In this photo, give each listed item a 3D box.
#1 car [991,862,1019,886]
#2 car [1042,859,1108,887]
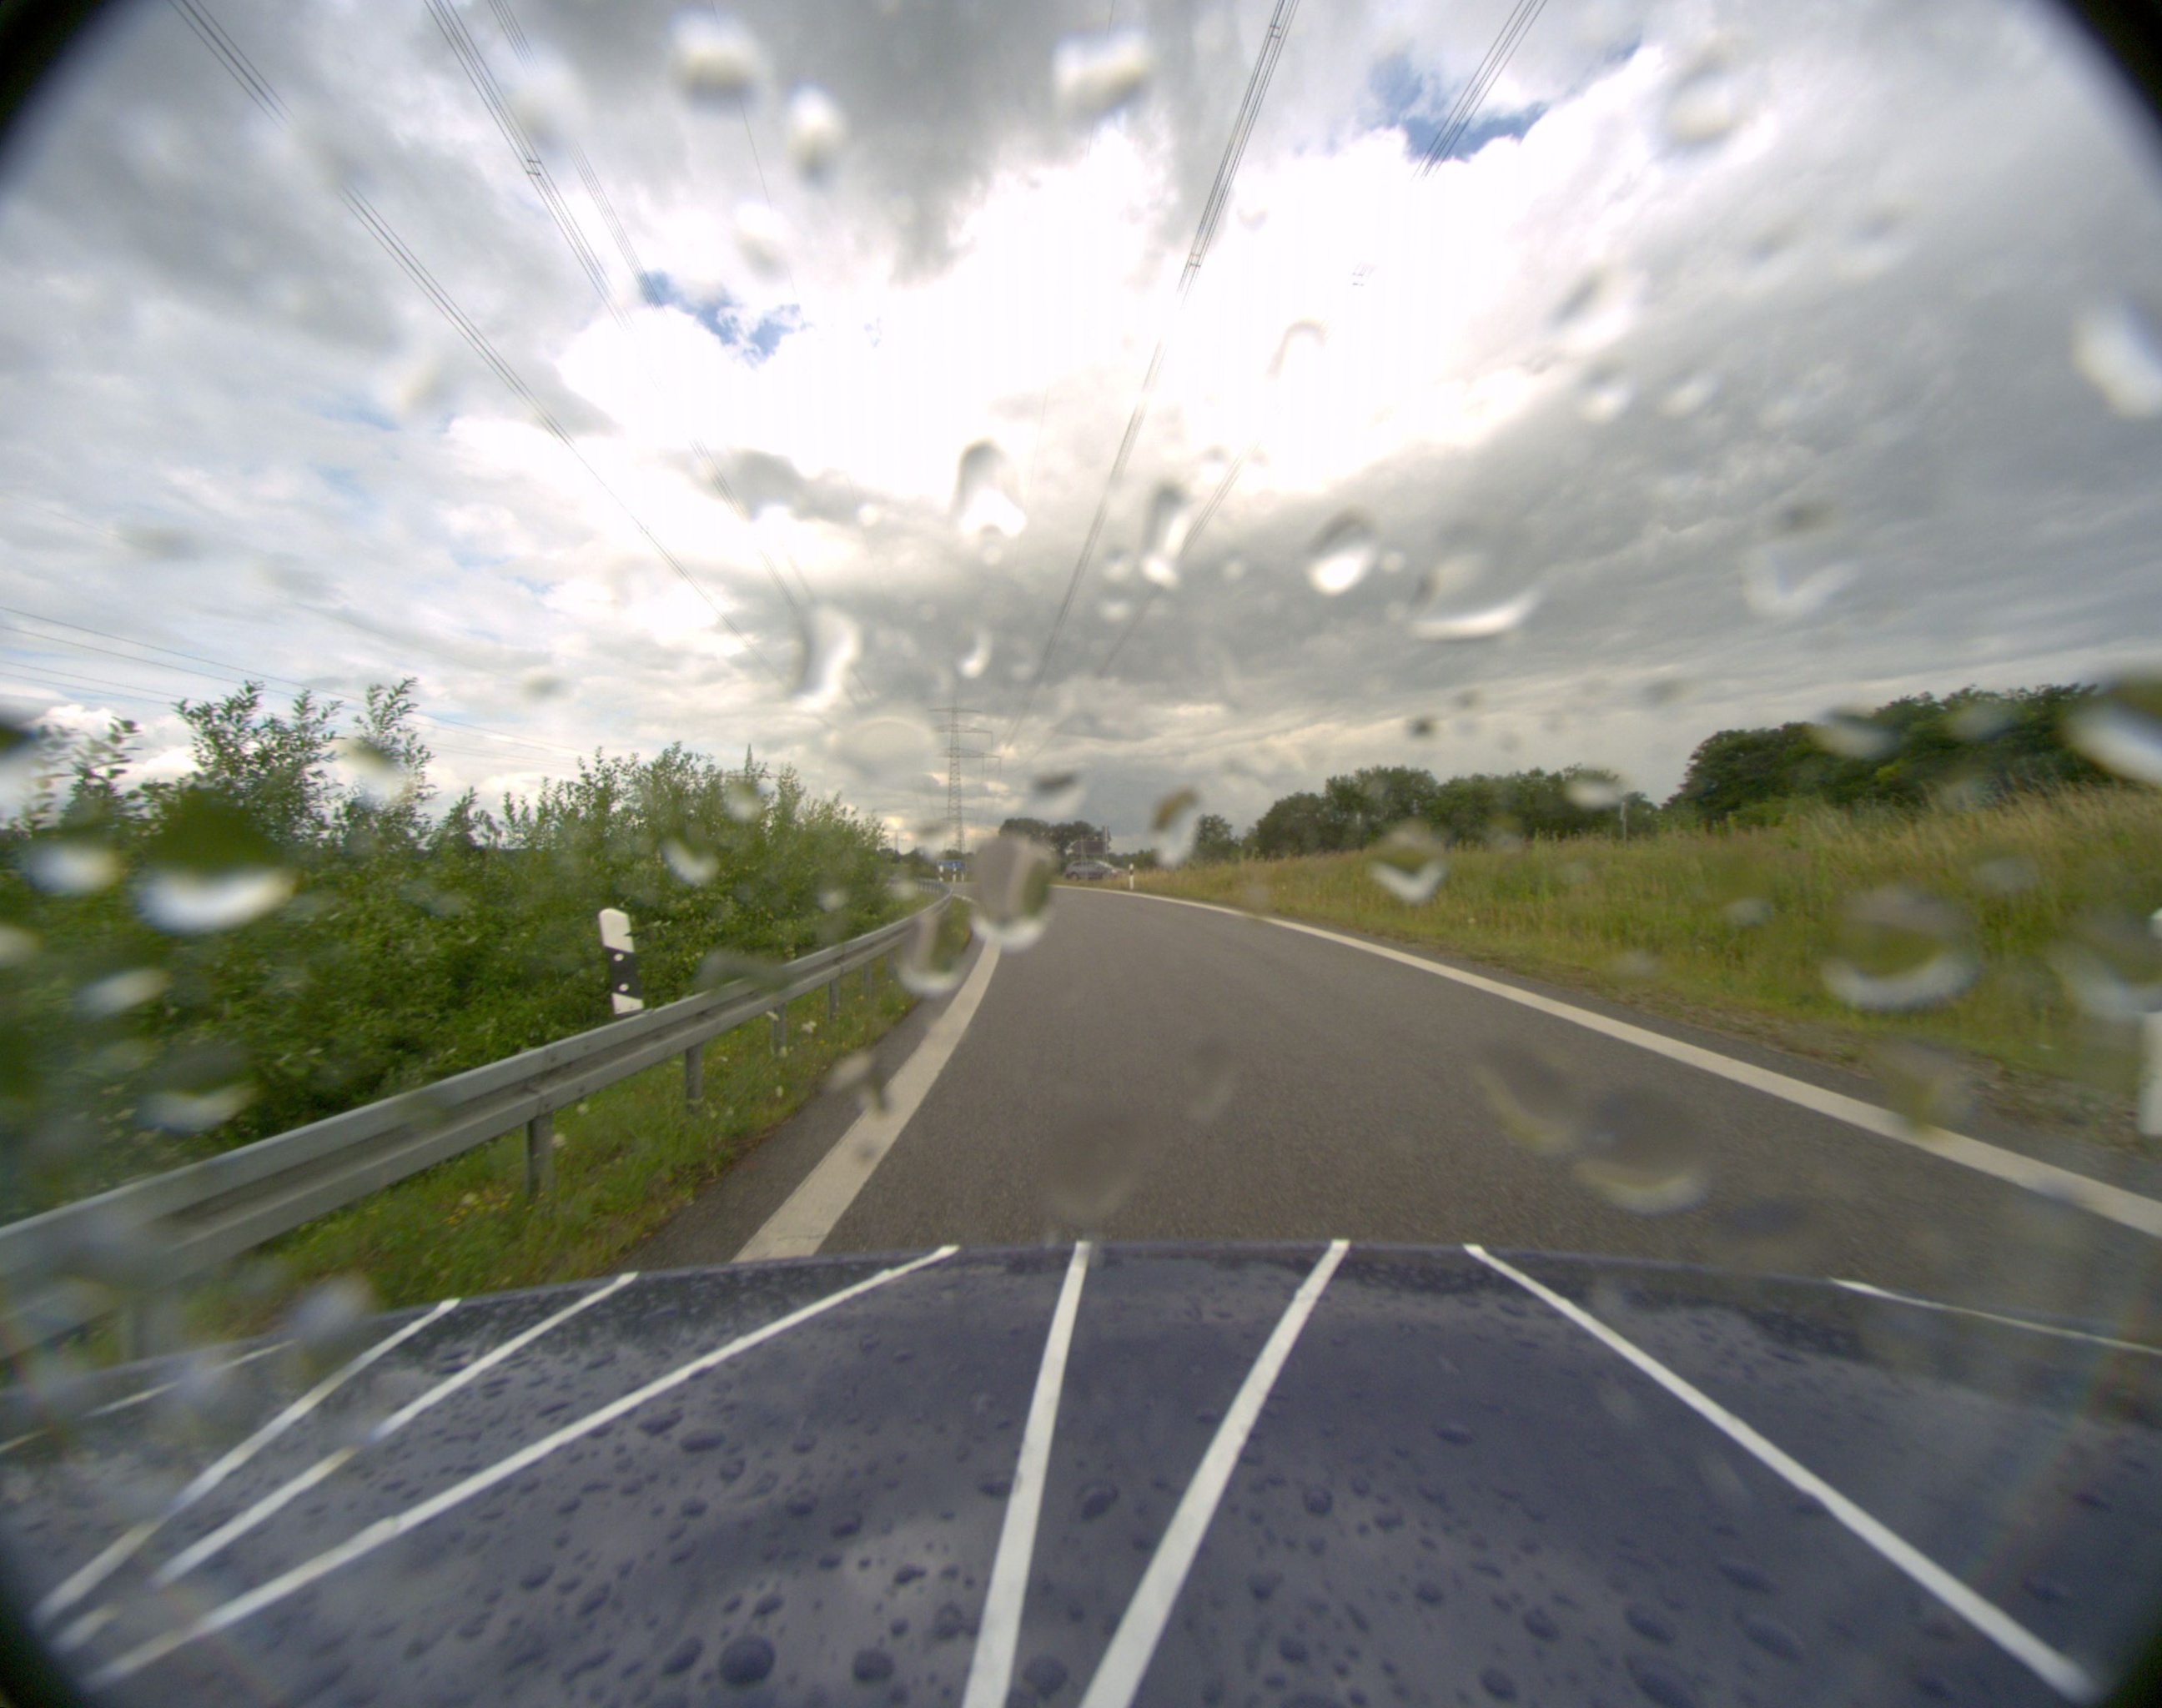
[{"bbox_3d":[-9.060,2.385,90.232,2.335,2.709,6.276,0,-1,-14],"label":"car"},{"bbox_3d":[-0.419,1.306,51.627,3.989,1.742,2.004,-2,0,33],"label":"car"}]
